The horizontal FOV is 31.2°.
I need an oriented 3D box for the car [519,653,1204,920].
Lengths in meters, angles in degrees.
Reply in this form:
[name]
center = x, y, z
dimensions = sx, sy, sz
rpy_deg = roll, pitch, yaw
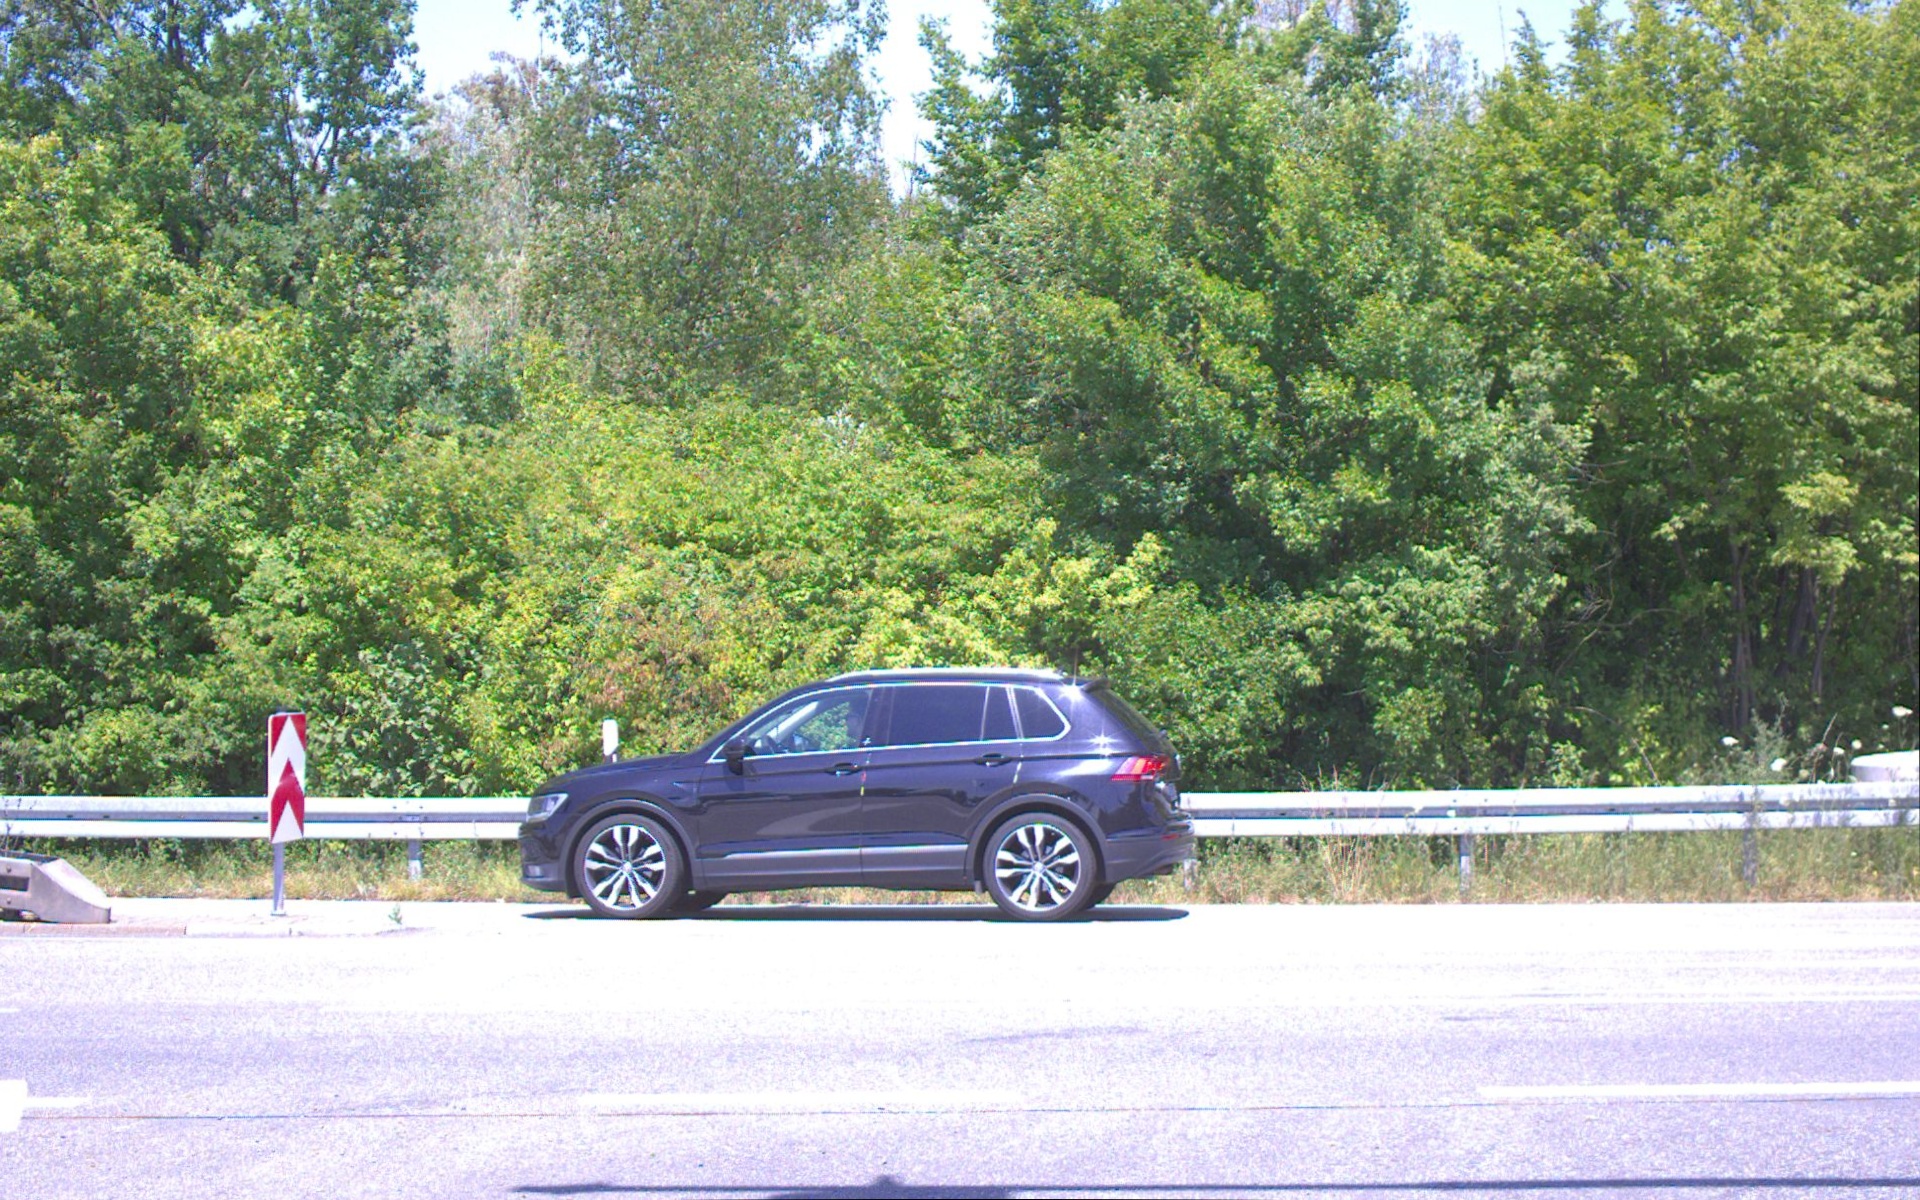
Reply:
[car]
center = -0.589, 1.223, 22.852
dimensions = 4.263, 1.627, 1.904
rpy_deg = 1, -3, 8
